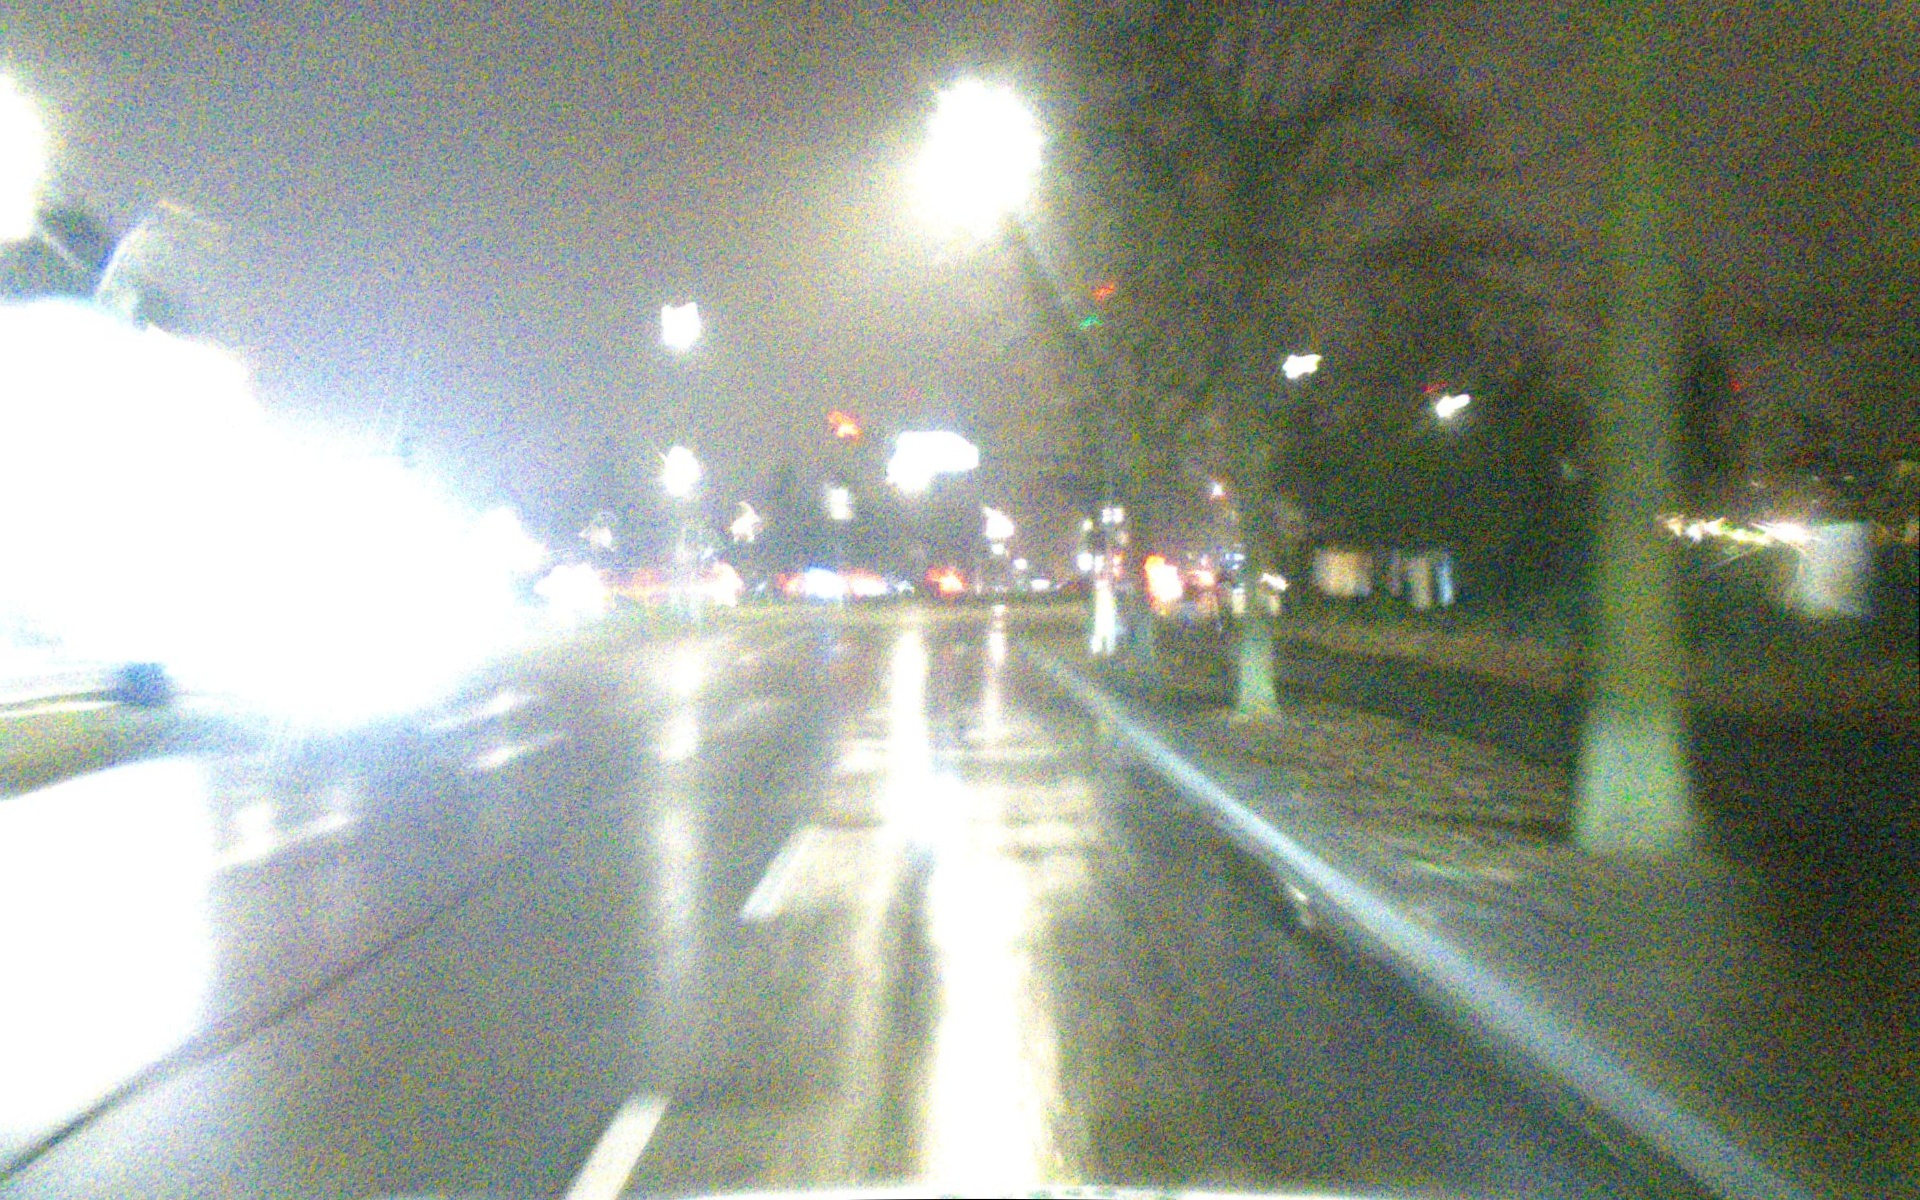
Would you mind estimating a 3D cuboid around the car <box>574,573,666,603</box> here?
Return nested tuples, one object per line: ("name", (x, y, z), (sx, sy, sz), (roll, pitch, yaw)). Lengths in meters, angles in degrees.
("car", (-24.821, -0.859, 120.703), (6.214, 2.125, 2.495), (0, 1, -26))

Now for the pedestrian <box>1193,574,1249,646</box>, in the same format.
("pedestrian", (6.771, 0.244, 43.030), (1.202, 1.825, 1.490), (0, 0, -1))

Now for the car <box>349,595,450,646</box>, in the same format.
("car", (-17.741, 0.626, 52.569), (1.792, 1.490, 4.657), (0, 1, -2))

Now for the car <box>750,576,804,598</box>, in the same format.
("car", (-13.618, -0.967, 123.079), (3.873, 1.606, 1.736), (0, 0, -3))

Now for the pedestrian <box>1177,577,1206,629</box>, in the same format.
("pedestrian", (6.846, 0.074, 48.887), (0.711, 1.511, 0.836), (0, 0, -1))

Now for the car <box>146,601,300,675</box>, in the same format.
("car", (-16.223, 0.796, 36.629), (1.792, 1.490, 3.998), (0, 1, -3))

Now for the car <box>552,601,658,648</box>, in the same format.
("car", (-16.128, 1.093, 75.047), (4.476, 2.049, 1.988), (0, 0, -20))

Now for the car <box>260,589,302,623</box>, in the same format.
("car", (-36.697, 0.307, 89.439), (2.035, 1.745, 5.006), (0, 1, -23))

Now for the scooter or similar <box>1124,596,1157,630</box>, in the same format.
("scooter or similar", (6.200, 0.445, 56.845), (1.080, 1.117, 0.317), (-1, -1, 28))

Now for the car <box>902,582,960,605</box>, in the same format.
("car", (-2.129, -0.481, 121.634), (3.908, 1.644, 1.835), (1, 1, 25))
